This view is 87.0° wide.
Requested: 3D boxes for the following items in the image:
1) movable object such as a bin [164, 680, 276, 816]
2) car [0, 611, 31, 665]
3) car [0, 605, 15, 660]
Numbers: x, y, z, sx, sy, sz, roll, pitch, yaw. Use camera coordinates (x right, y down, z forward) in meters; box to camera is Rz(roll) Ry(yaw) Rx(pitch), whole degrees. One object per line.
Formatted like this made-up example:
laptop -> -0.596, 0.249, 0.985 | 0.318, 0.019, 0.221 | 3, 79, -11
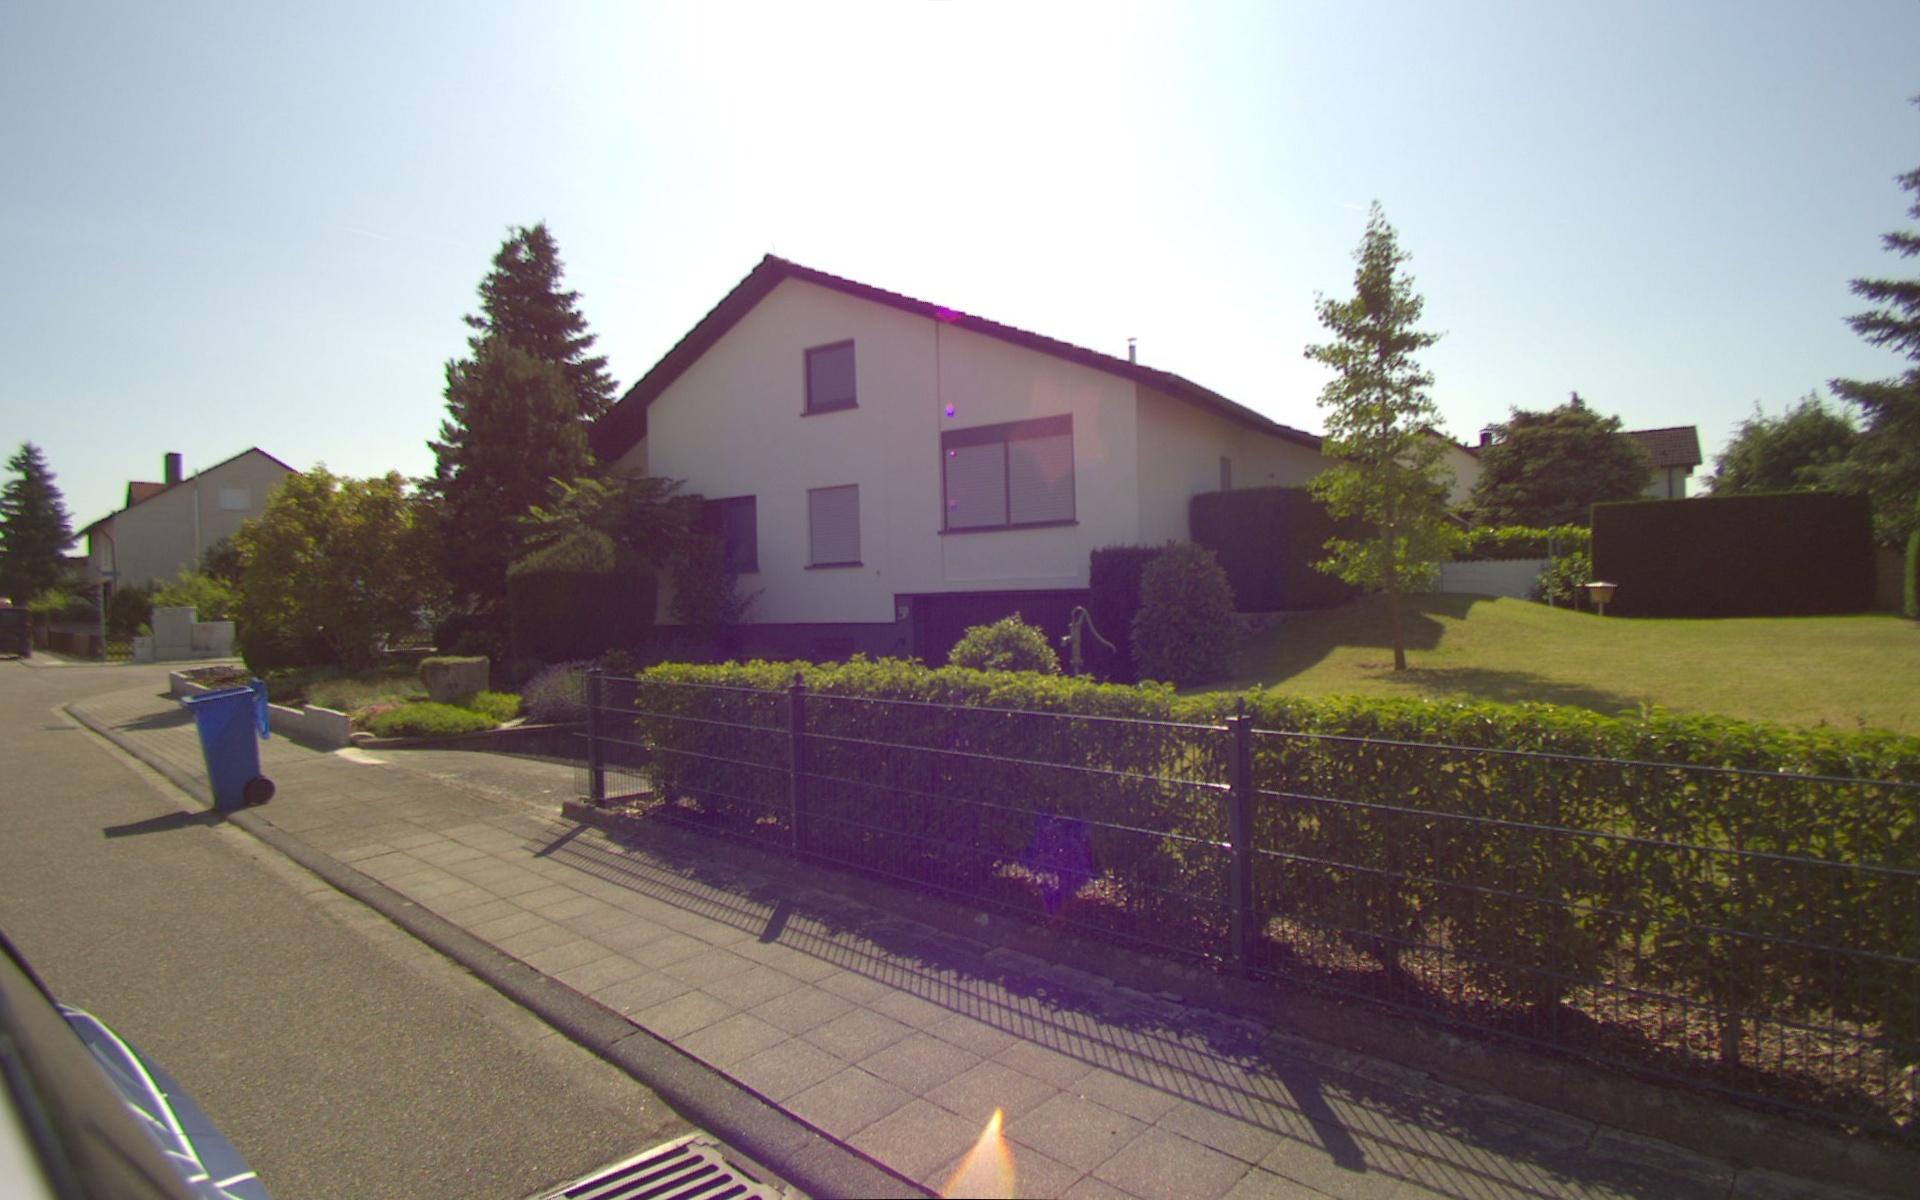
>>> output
movable object such as a bin -> -5.718, 1.114, 7.820 | 0.598, 0.923, 0.576 | -2, 1, 43
car -> -36.535, 1.454, 38.199 | 4.205, 1.953, 1.845 | -2, 0, 43
car -> -43.175, 1.454, 44.874 | 4.205, 2.341, 1.534 | -2, 0, 43
